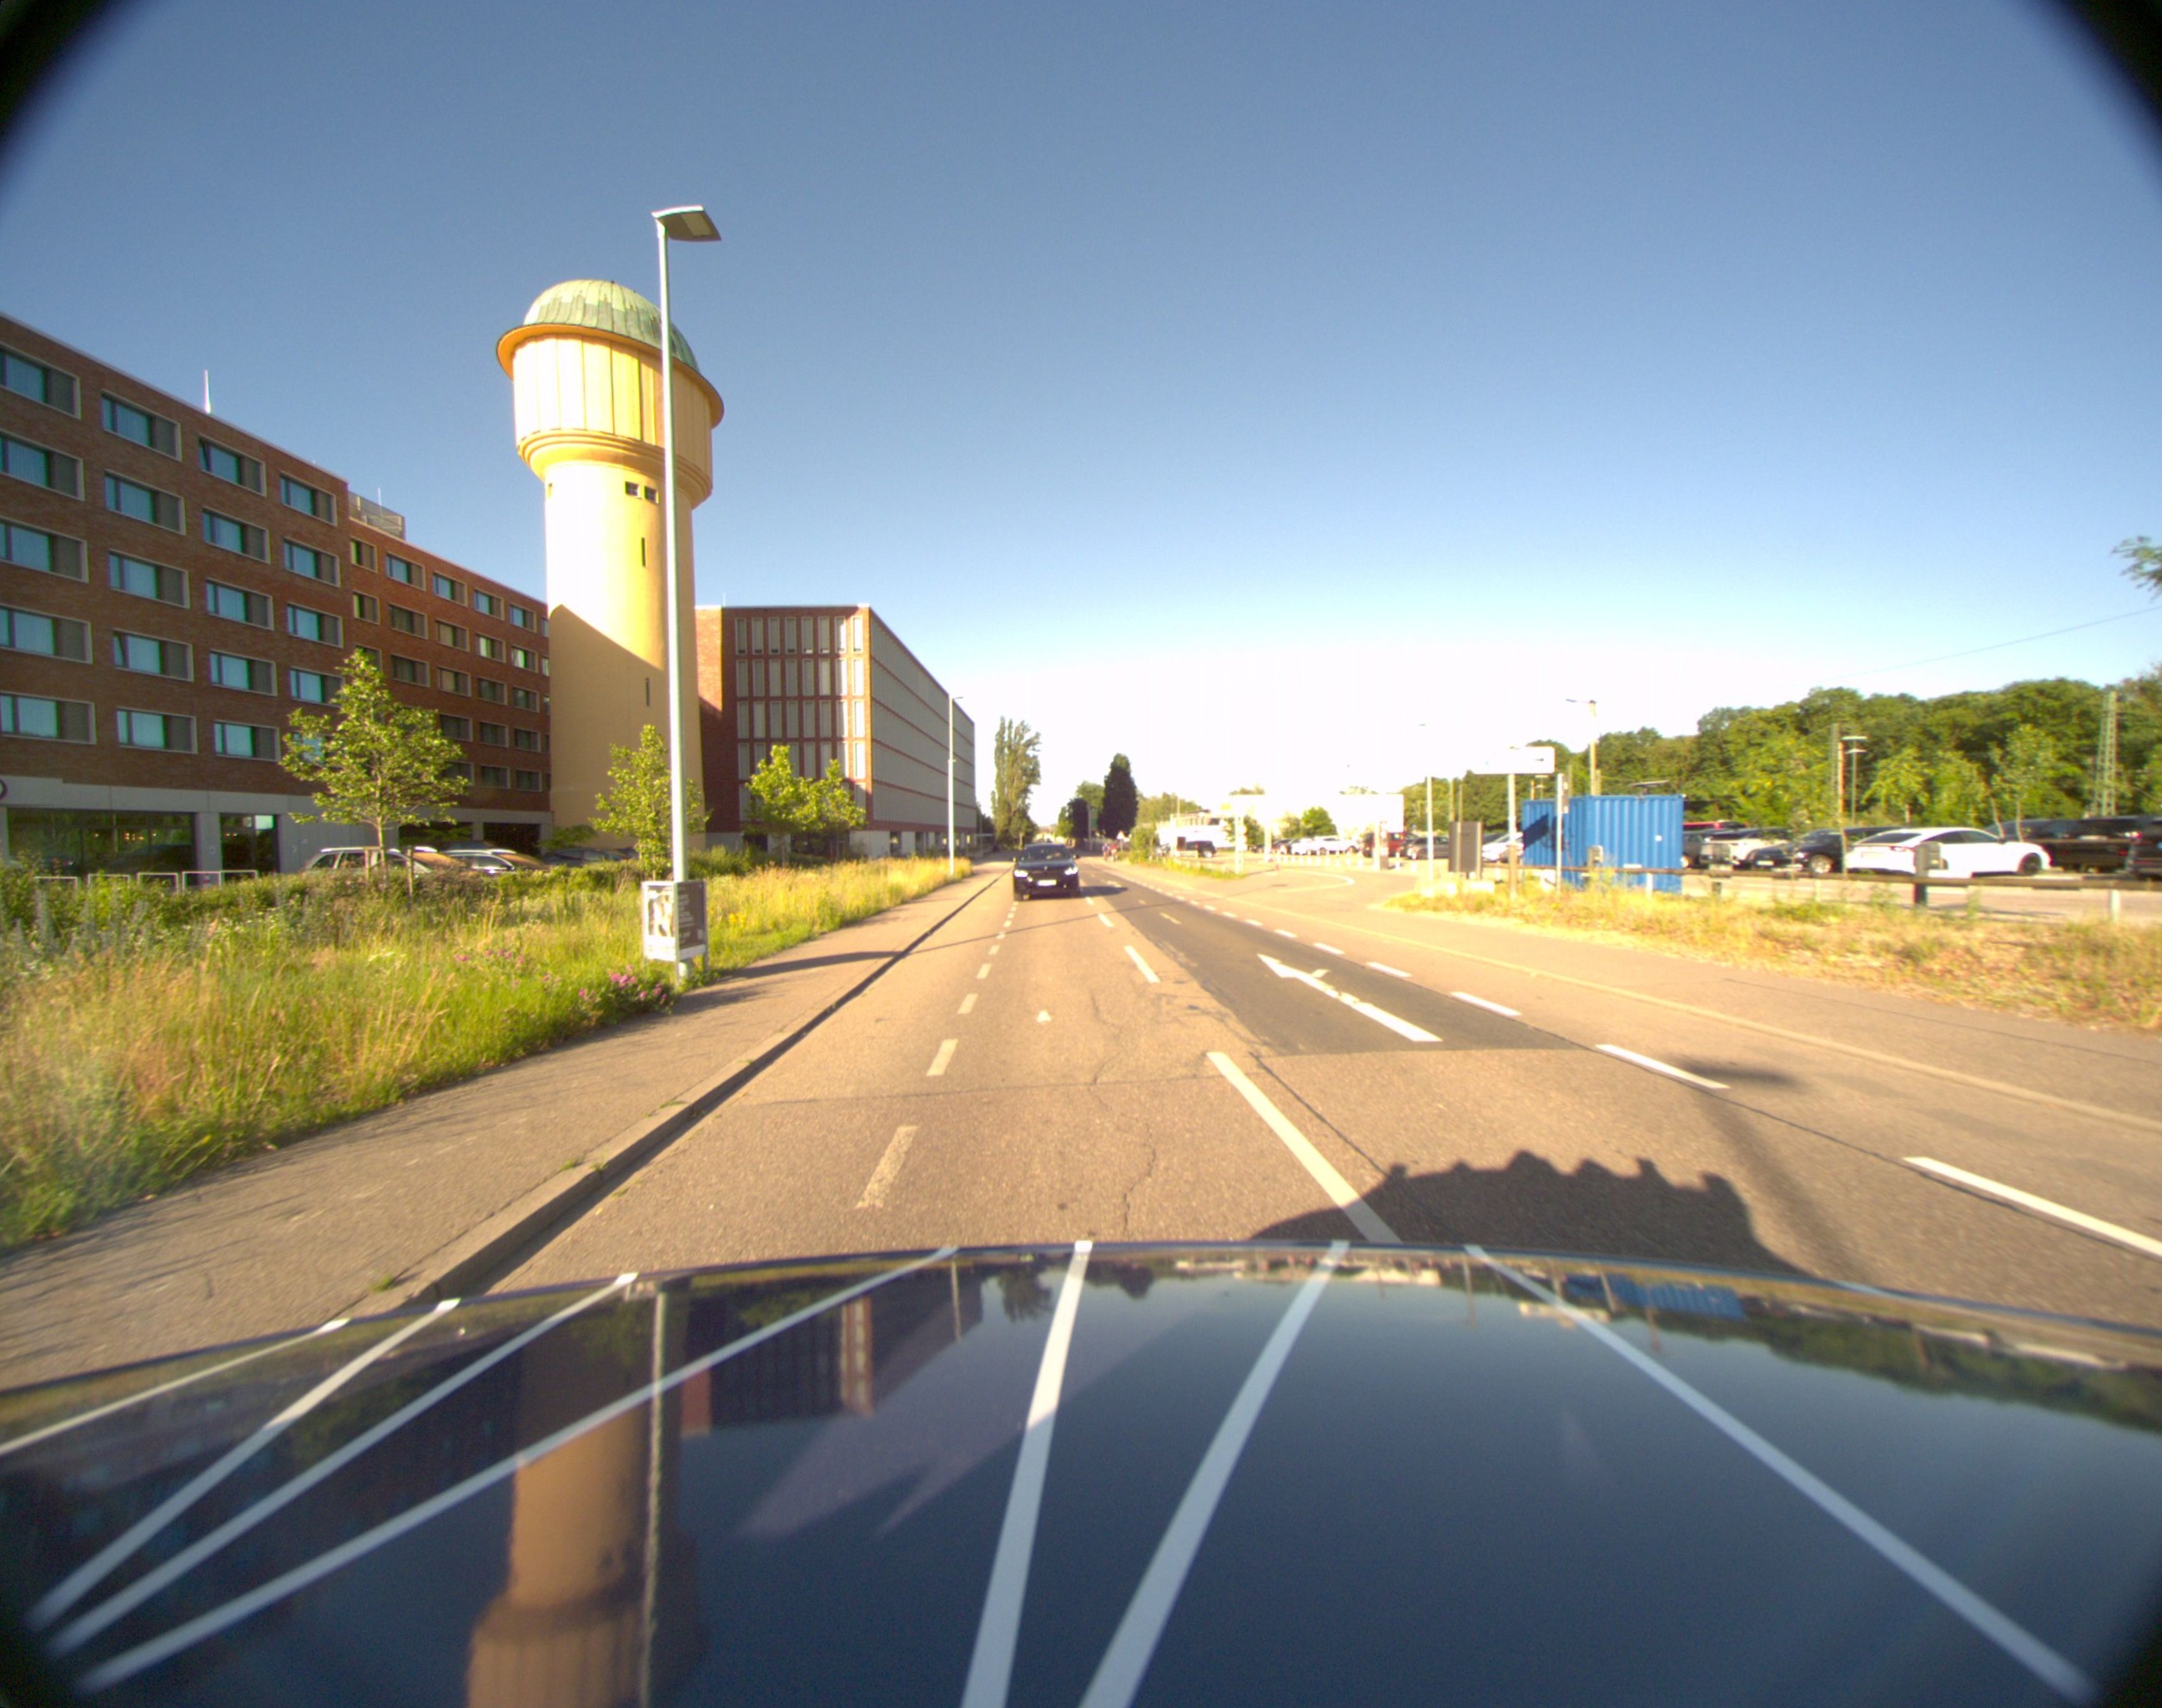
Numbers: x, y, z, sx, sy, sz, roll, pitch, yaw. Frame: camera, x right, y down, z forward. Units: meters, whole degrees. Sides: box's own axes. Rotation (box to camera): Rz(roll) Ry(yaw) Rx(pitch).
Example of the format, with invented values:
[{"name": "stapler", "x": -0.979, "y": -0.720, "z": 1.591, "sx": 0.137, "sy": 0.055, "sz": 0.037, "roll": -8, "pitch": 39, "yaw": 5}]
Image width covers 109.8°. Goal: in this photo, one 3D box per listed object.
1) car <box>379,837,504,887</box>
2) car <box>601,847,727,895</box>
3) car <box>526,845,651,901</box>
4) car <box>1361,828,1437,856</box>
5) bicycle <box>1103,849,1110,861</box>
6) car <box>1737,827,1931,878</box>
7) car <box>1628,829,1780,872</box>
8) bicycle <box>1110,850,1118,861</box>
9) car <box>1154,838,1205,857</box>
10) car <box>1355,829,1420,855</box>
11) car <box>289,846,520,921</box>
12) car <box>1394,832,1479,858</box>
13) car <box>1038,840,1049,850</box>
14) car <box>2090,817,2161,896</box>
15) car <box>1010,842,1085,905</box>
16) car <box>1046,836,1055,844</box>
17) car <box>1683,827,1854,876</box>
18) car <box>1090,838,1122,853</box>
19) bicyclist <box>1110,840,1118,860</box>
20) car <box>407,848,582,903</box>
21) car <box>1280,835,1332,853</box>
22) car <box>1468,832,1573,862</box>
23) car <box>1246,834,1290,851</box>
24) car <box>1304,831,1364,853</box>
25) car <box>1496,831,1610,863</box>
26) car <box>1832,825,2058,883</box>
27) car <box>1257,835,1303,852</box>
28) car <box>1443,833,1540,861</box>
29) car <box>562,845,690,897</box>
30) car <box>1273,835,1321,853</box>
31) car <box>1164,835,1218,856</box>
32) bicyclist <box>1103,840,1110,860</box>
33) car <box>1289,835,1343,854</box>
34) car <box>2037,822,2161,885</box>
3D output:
[{"name": "car", "x": -30.715, "y": 0.330, "z": 36.739, "sx": 1.868, "sy": 2.251, "sz": 4.936, "roll": -1, "pitch": 1, "yaw": -1}, {"name": "car", "x": -18.710, "y": 0.730, "z": 34.248, "sx": 4.529, "sy": 2.002, "sz": 1.999, "roll": -1, "pitch": 1, "yaw": 0}, {"name": "car", "x": -18.732, "y": 0.701, "z": 29.012, "sx": 3.482, "sy": 2.010, "sz": 1.835, "roll": -1, "pitch": 1, "yaw": -1}, {"name": "car", "x": 22.067, "y": -0.829, "z": 52.852, "sx": 4.442, "sy": 1.767, "sz": 1.870, "roll": -2, "pitch": 1, "yaw": 4}, {"name": "bicycle", "x": 2.425, "y": 0.121, "z": 72.716, "sx": 0.503, "sy": 1.118, "sz": 1.565, "roll": -2, "pitch": 1, "yaw": -1}, {"name": "car", "x": 23.537, "y": -0.070, "z": 23.839, "sx": 4.445, "sy": 1.435, "sz": 1.868, "roll": -1, "pitch": 1, "yaw": -4}, {"name": "car", "x": 23.843, "y": -0.130, "z": 29.181, "sx": 4.445, "sy": 1.421, "sz": 1.868, "roll": -2, "pitch": 1, "yaw": -4}, {"name": "bicycle", "x": 3.115, "y": 0.136, "z": 72.200, "sx": 0.558, "sy": 1.058, "sz": 1.724, "roll": -2, "pitch": 1, "yaw": -1}, {"name": "car", "x": 9.839, "y": -0.678, "z": 76.299, "sx": 4.812, "sy": 1.790, "sz": 1.999, "roll": -1, "pitch": 1, "yaw": -3}, {"name": "car", "x": 22.560, "y": -0.899, "z": 56.048, "sx": 4.071, "sy": 1.767, "sz": 1.870, "roll": -2, "pitch": 1, "yaw": 4}, {"name": "car", "x": -18.067, "y": 0.738, "z": 20.479, "sx": 4.330, "sy": 1.818, "sz": 1.999, "roll": -1, "pitch": 1, "yaw": -2}, {"name": "car", "x": 22.268, "y": -0.568, "z": 47.745, "sx": 4.442, "sy": 1.436, "sz": 1.922, "roll": -2, "pitch": 1, "yaw": 3}, {"name": "car", "x": -7.330, "y": -1.751, "z": 149.283, "sx": 1.999, "sy": 2.002, "sz": 3.998, "roll": -1, "pitch": 1, "yaw": -2}, {"name": "car", "x": 24.056, "y": -0.024, "z": 15.649, "sx": 4.201, "sy": 1.580, "sz": 1.986, "roll": -2, "pitch": 1, "yaw": -4}, {"name": "car", "x": -1.052, "y": 0.517, "z": 23.951, "sx": 2.047, "sy": 1.704, "sz": 4.749, "roll": -2, "pitch": 1, "yaw": -3}, {"name": "car", "x": -7.511, "y": -3.481, "z": 186.708, "sx": 1.999, "sy": 2.002, "sz": 3.998, "roll": -1, "pitch": 1, "yaw": -2}, {"name": "car", "x": 23.898, "y": -0.098, "z": 26.508, "sx": 4.445, "sy": 1.458, "sz": 1.868, "roll": -2, "pitch": 1, "yaw": -4}, {"name": "car", "x": 4.715, "y": -1.699, "z": 144.535, "sx": 5.770, "sy": 2.686, "sz": 1.999, "roll": -1, "pitch": 1, "yaw": -2}, {"name": "bicyclist", "x": 3.123, "y": -0.394, "z": 72.032, "sx": 0.568, "sy": 1.860, "sz": 0.853, "roll": -1, "pitch": 1, "yaw": -2}, {"name": "car", "x": -18.133, "y": 0.642, "z": 23.633, "sx": 3.996, "sy": 1.541, "sz": 1.834, "roll": -1, "pitch": 1, "yaw": 1}, {"name": "car", "x": 20.682, "y": -0.908, "z": 69.940, "sx": 4.157, "sy": 1.479, "sz": 1.764, "roll": -2, "pitch": 1, "yaw": -7}, {"name": "car", "x": 22.993, "y": -0.378, "z": 39.837, "sx": 4.445, "sy": 1.369, "sz": 1.868, "roll": -2, "pitch": 1, "yaw": -4}, {"name": "car", "x": 20.009, "y": -1.208, "z": 81.166, "sx": 4.310, "sy": 1.600, "sz": 1.741, "roll": -3, "pitch": 1, "yaw": -23}, {"name": "car", "x": 21.662, "y": -1.015, "z": 65.120, "sx": 4.445, "sy": 1.768, "sz": 1.868, "roll": -2, "pitch": 1, "yaw": -5}, {"name": "car", "x": 23.078, "y": -0.341, "z": 37.246, "sx": 4.445, "sy": 1.369, "sz": 1.946, "roll": -2, "pitch": 1, "yaw": -4}, {"name": "car", "x": 23.919, "y": -0.015, "z": 21.131, "sx": 4.445, "sy": 1.369, "sz": 1.868, "roll": -2, "pitch": 1, "yaw": -4}, {"name": "car", "x": 20.581, "y": -1.114, "z": 78.632, "sx": 4.326, "sy": 1.615, "sz": 1.783, "roll": -3, "pitch": 1, "yaw": -22}, {"name": "car", "x": 22.733, "y": -0.406, "z": 42.174, "sx": 4.445, "sy": 1.369, "sz": 1.868, "roll": -2, "pitch": 1, "yaw": -4}, {"name": "car", "x": -18.568, "y": 0.665, "z": 31.141, "sx": 3.996, "sy": 1.969, "sz": 2.000, "roll": -1, "pitch": 1, "yaw": 1}, {"name": "car", "x": 20.612, "y": -0.950, "z": 72.706, "sx": 4.012, "sy": 1.479, "sz": 1.764, "roll": -2, "pitch": 1, "yaw": -7}, {"name": "car", "x": 10.224, "y": -0.829, "z": 70.881, "sx": 4.655, "sy": 1.731, "sz": 1.801, "roll": -2, "pitch": 1, "yaw": -4}, {"name": "bicyclist", "x": 2.410, "y": -0.382, "z": 72.696, "sx": 0.568, "sy": 1.860, "sz": 0.853, "roll": -1, "pitch": 1, "yaw": -2}, {"name": "car", "x": 20.857, "y": -0.872, "z": 67.435, "sx": 4.158, "sy": 1.477, "sz": 1.760, "roll": -2, "pitch": 1, "yaw": -7}, {"name": "car", "x": 29.337, "y": -0.062, "z": 20.736, "sx": 4.445, "sy": 1.542, "sz": 1.868, "roll": -2, "pitch": 1, "yaw": -4}]
